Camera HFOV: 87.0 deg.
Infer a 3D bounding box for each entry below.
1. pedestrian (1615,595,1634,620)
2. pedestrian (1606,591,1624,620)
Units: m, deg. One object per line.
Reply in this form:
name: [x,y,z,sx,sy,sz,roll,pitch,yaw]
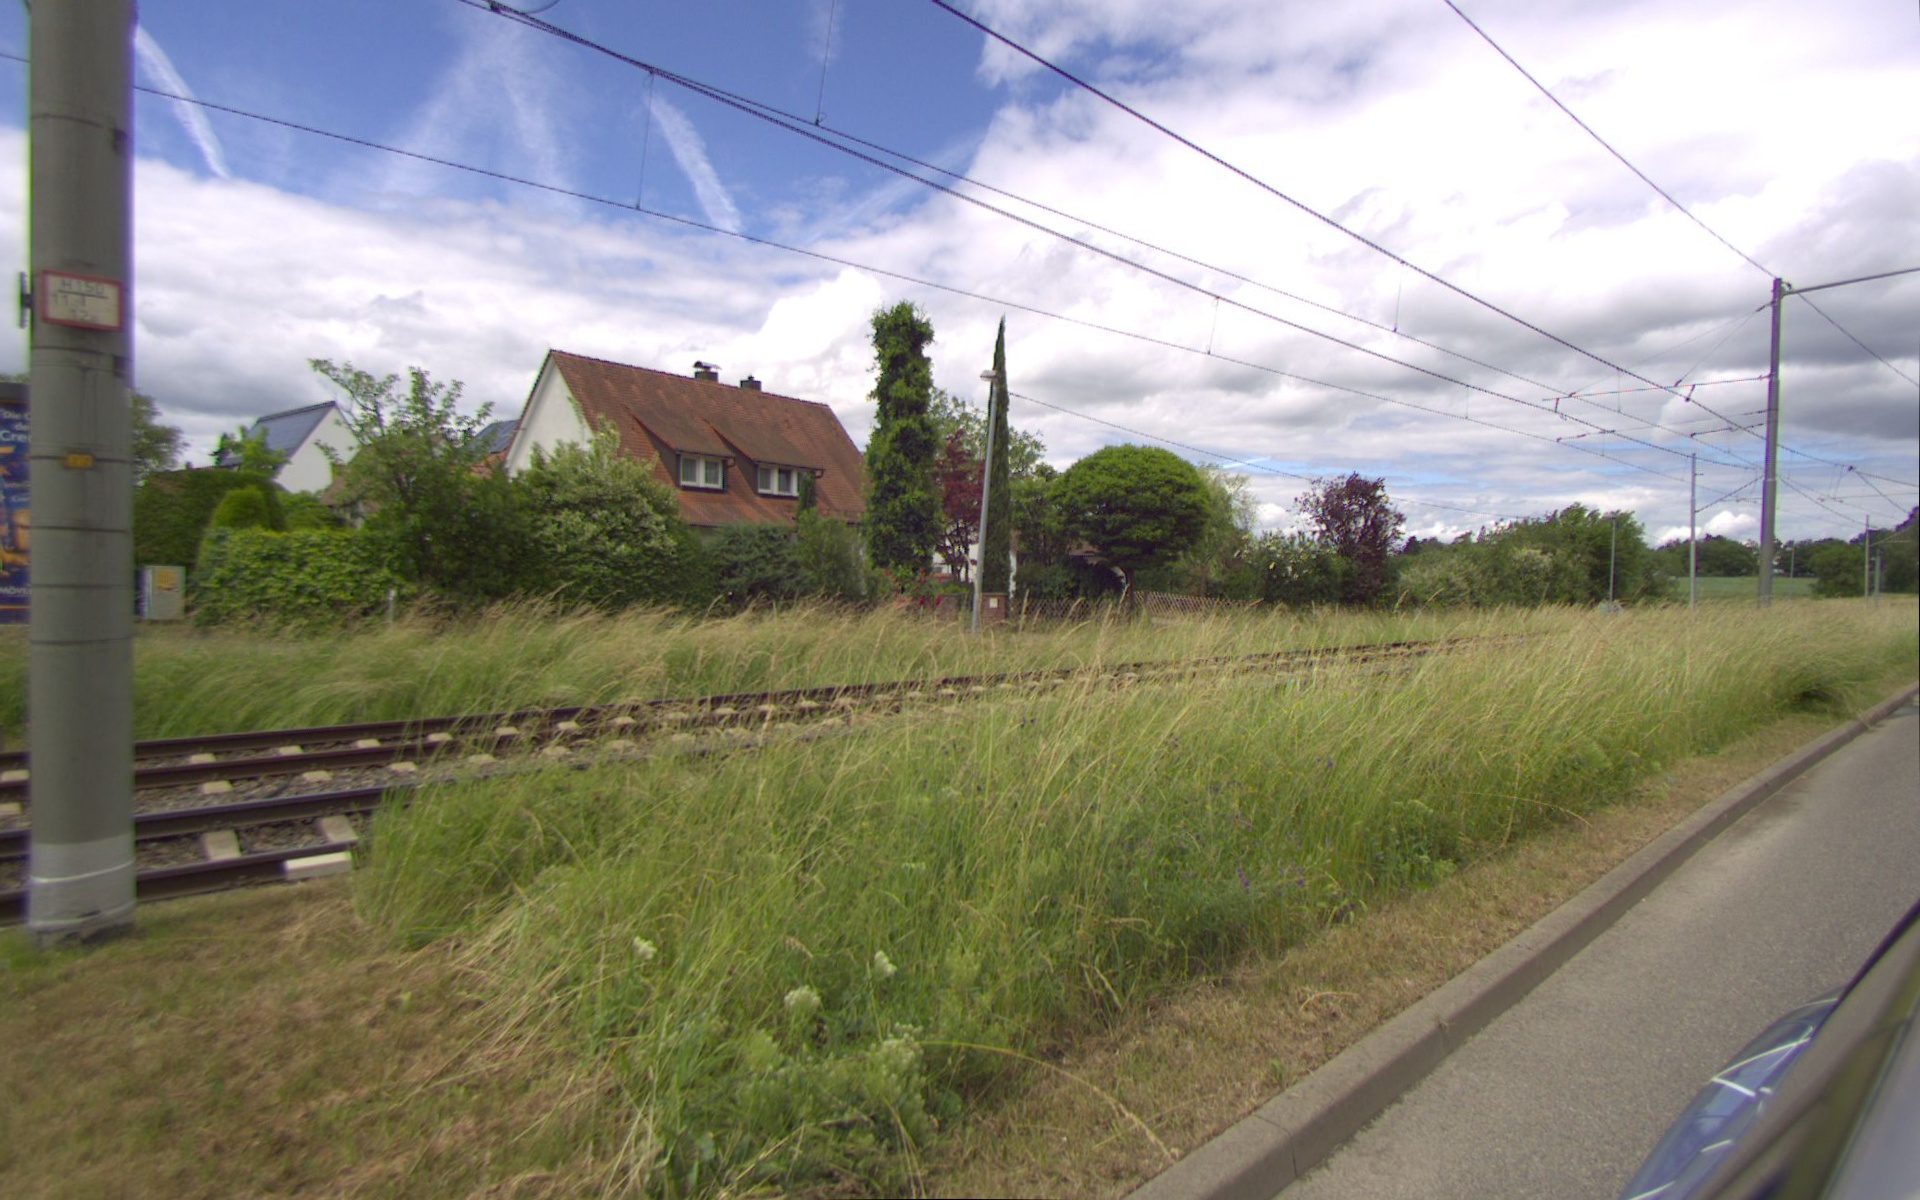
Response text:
pedestrian: [37.961,0.417,57.778,0.652,1.449,0.601,-1,-1,-16]
pedestrian: [37.810,0.330,58.462,0.571,1.643,0.619,-1,-1,-14]
